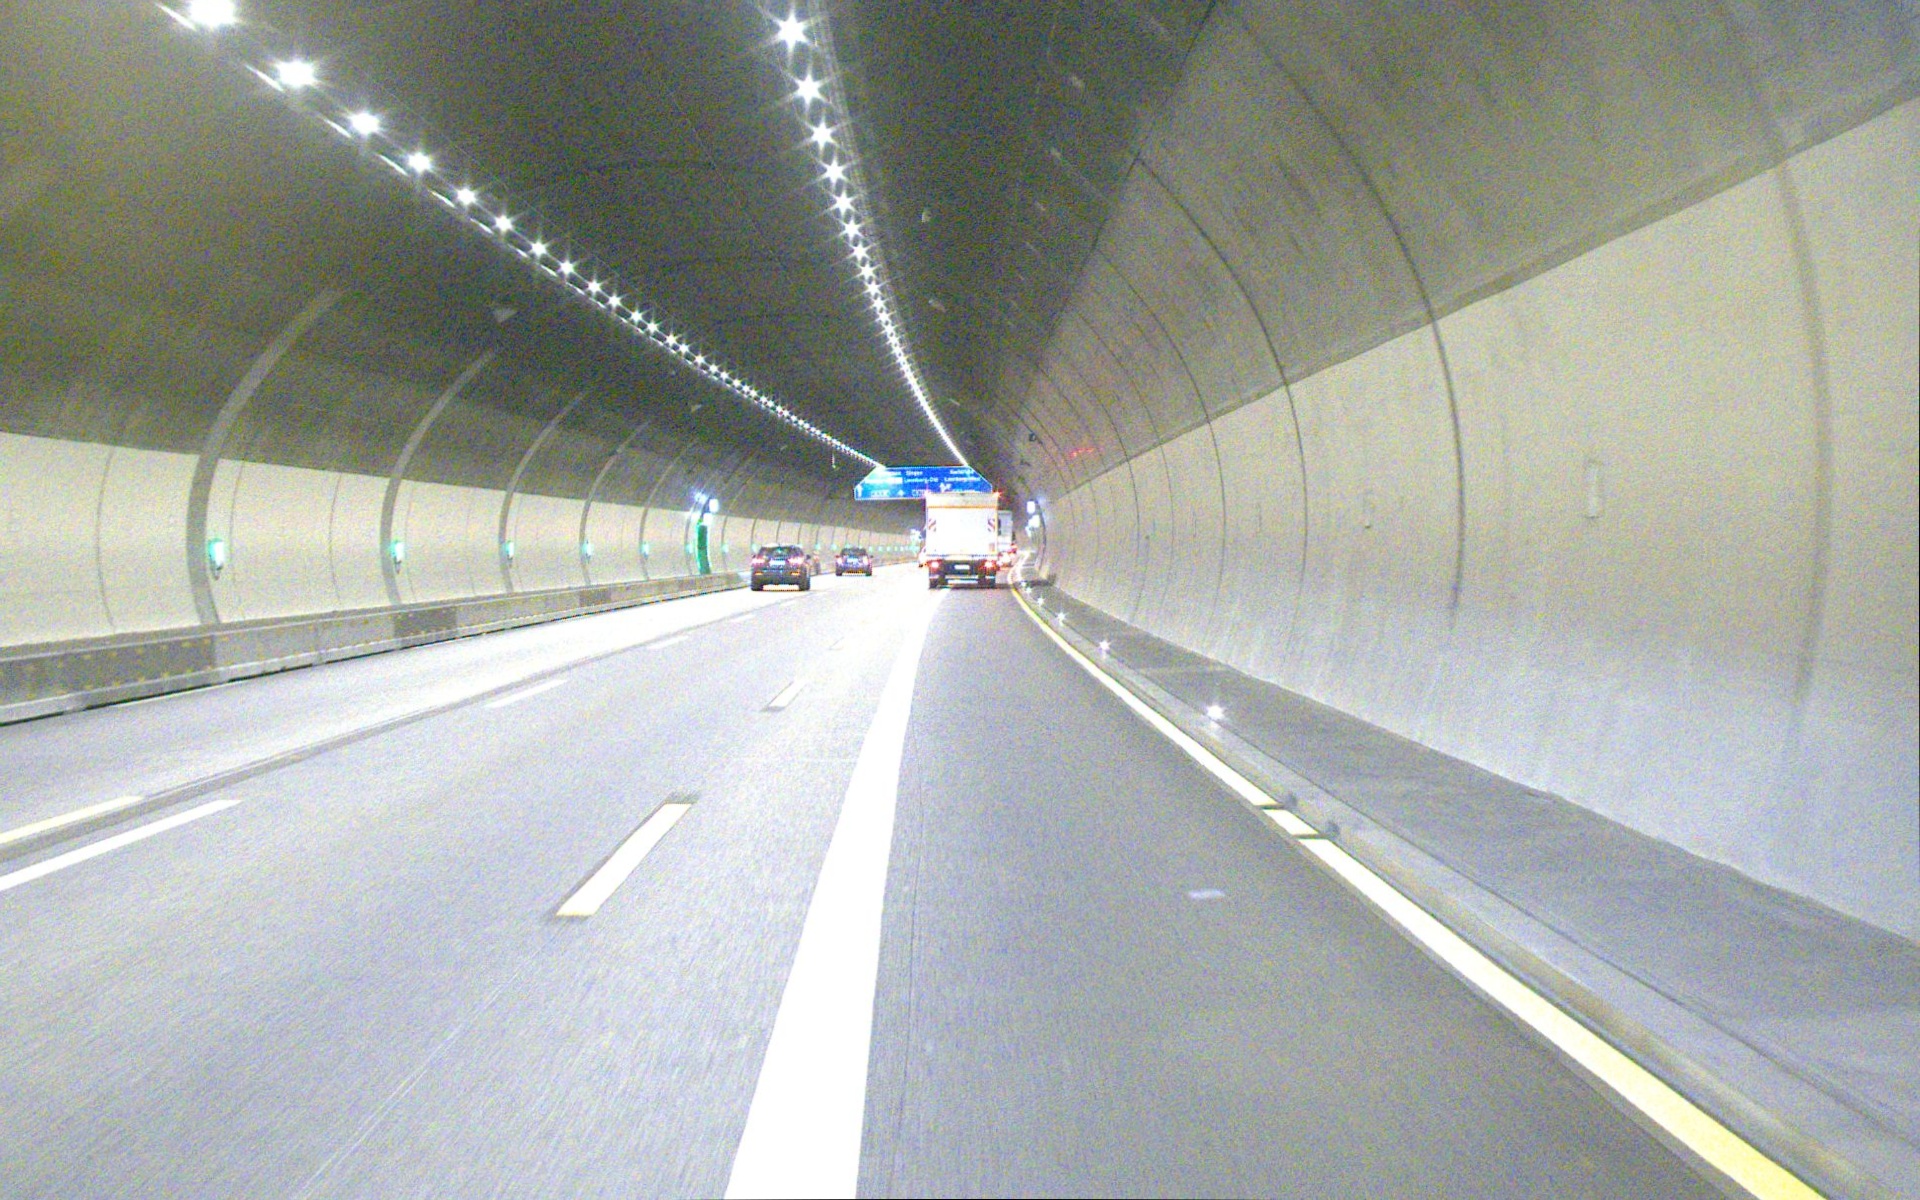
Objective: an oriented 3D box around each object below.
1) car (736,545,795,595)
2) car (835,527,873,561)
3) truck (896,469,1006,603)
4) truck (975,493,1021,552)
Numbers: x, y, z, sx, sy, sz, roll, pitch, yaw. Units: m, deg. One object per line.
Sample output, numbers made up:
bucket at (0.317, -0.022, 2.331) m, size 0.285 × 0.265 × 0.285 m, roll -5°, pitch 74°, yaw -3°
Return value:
car at (-6.486, -1.016, 114.988) m, size 1.812 × 1.612 × 4.001 m, roll 0°, pitch 1°, yaw -1°
car at (-5.266, -2.777, 169.998) m, size 1.812 × 1.514 × 4.001 m, roll 0°, pitch 3°, yaw -3°
truck at (-0.487, -2.418, 129.186) m, size 3.278 × 4.634 × 17.289 m, roll -2°, pitch 1°, yaw -3°
truck at (2.689, -5.606, 248.729) m, size 2.922 × 4.034 × 14.030 m, roll -2°, pitch 1°, yaw -1°
